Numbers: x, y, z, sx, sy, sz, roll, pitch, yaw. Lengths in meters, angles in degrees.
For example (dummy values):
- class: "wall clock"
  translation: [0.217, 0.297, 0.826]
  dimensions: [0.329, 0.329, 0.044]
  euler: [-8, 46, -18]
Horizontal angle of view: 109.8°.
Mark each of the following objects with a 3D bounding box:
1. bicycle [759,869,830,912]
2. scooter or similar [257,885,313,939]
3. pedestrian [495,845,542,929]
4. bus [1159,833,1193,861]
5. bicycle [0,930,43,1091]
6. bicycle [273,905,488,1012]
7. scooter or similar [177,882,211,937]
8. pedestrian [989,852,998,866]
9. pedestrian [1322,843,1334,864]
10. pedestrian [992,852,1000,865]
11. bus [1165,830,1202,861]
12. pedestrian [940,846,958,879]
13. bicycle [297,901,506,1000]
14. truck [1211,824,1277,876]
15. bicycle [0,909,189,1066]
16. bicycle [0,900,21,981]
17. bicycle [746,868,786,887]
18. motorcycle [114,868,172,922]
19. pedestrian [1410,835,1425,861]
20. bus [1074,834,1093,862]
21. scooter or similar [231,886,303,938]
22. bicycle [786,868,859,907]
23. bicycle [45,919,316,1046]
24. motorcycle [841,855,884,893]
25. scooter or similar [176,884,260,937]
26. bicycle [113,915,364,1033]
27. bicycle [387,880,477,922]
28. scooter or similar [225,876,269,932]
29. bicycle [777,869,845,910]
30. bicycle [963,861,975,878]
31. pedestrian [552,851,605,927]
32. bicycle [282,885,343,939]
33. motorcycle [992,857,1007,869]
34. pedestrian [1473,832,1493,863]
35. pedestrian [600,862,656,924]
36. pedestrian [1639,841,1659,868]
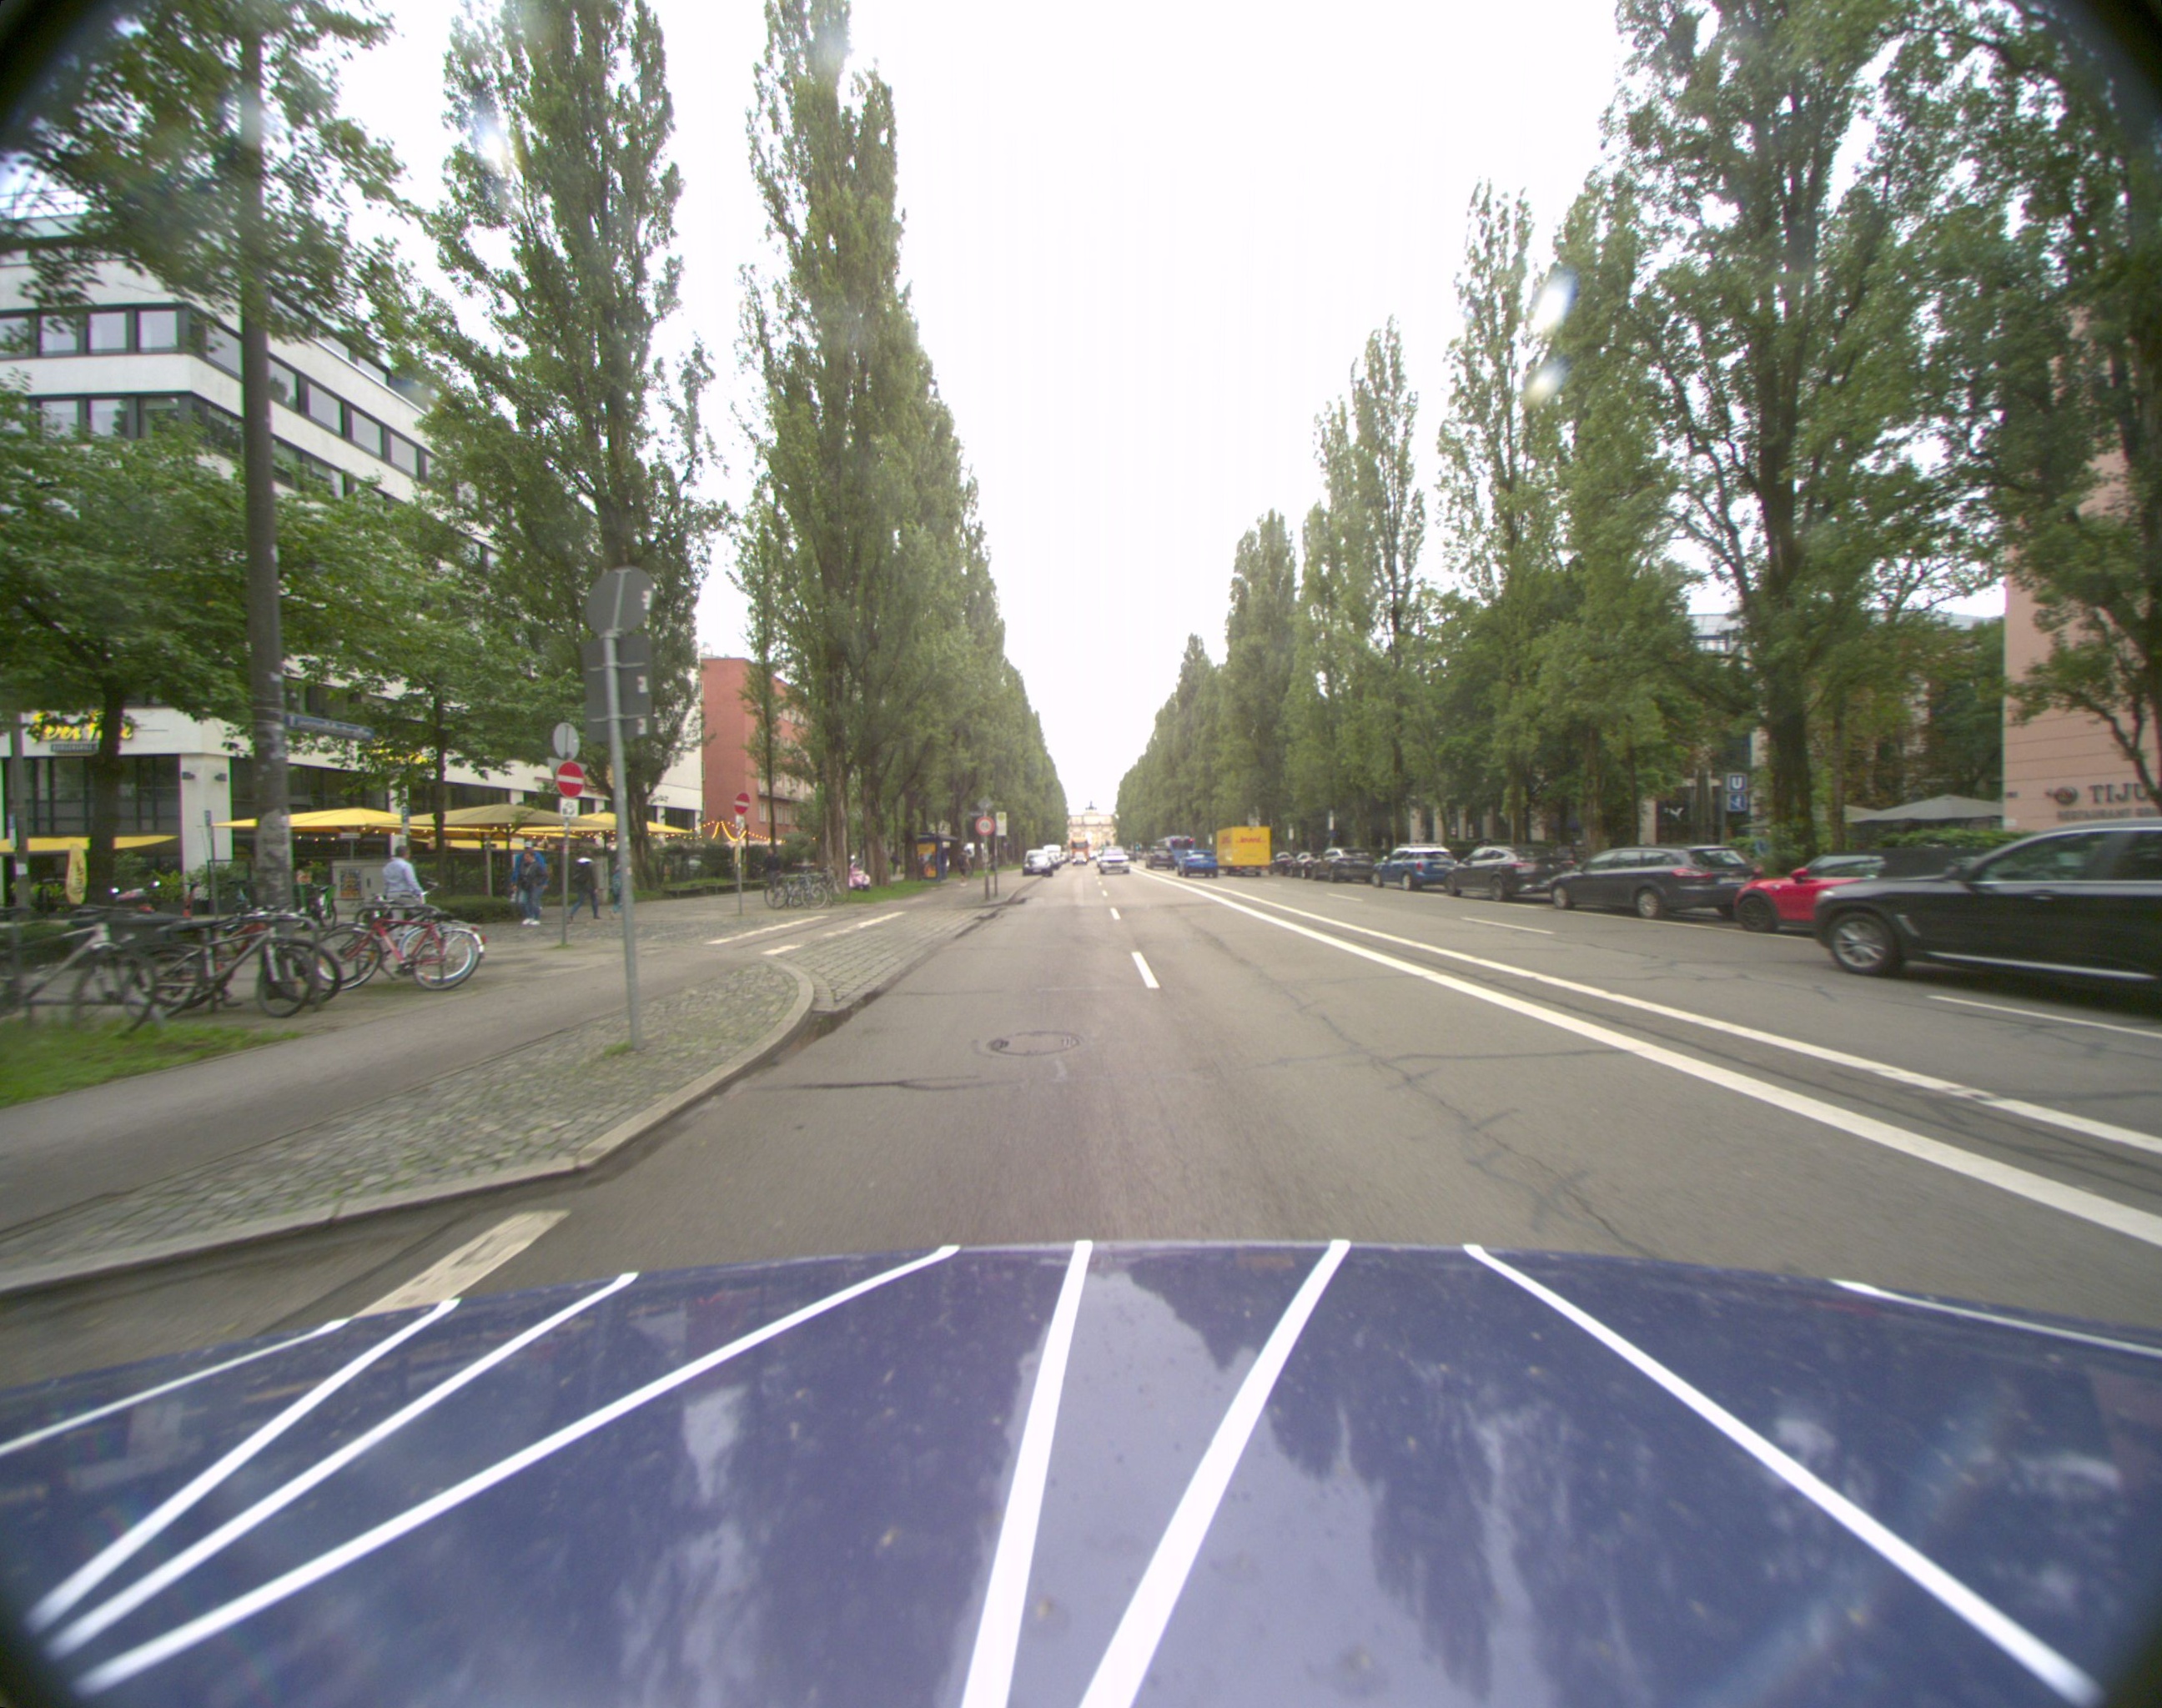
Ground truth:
- class: "bicycle"
  translation: [-7.707, 0.976, 20.469]
  dimensions: [1.701, 1.087, 0.492]
  euler: [-1, 1, 5]
- class: "scooter or similar"
  translation: [-18.640, 1.340, 17.817]
  dimensions: [0.370, 1.137, 1.427]
  euler: [-2, 1, -24]
- class: "pedestrian"
  translation: [-13.079, 0.760, 17.681]
  dimensions: [0.704, 1.897, 0.644]
  euler: [-2, 1, -24]
- class: "bus"
  translation: [10.956, -0.781, 88.445]
  dimensions: [2.924, 3.034, 9.797]
  euler: [-1, 0, 2]
- class: "bicycle"
  translation: [-8.009, 1.043, 4.985]
  dimensions: [1.831, 1.032, 0.513]
  euler: [0, 1, 5]
- class: "bicycle"
  translation: [-7.583, 1.124, 8.259]
  dimensions: [1.875, 1.044, 0.476]
  euler: [-2, 1, 1]
- class: "scooter or similar"
  translation: [-21.272, 1.325, 18.218]
  dimensions: [1.354, 1.265, 0.328]
  euler: [-2, 0, 33]
- class: "pedestrian"
  translation: [-10.615, 0.627, 92.231]
  dimensions: [0.889, 1.683, 0.768]
  euler: [-1, 1, 4]
- class: "pedestrian"
  translation: [19.992, -0.058, 61.564]
  dimensions: [0.708, 1.704, 0.732]
  euler: [-1, 1, 1]
- class: "pedestrian"
  translation: [-11.293, 0.549, 100.573]
  dimensions: [0.889, 1.683, 0.768]
  euler: [-1, 1, 4]
- class: "bus"
  translation: [10.687, -0.813, 79.833]
  dimensions: [2.924, 3.034, 8.519]
  euler: [-1, 0, 2]
- class: "pedestrian"
  translation: [-7.405, 0.465, 42.636]
  dimensions: [0.890, 1.832, 0.767]
  euler: [-1, 1, -8]
- class: "bicycle"
  translation: [-7.843, 1.102, 8.820]
  dimensions: [1.876, 1.044, 0.475]
  euler: [-1, 1, -6]
- class: "truck"
  translation: [9.827, -0.276, 46.465]
  dimensions: [2.599, 2.891, 7.080]
  euler: [-1, 1, 1]
- class: "bicycle"
  translation: [-8.075, 0.996, 5.777]
  dimensions: [1.929, 1.099, 0.513]
  euler: [0, 1, -1]
- class: "bicycle"
  translation: [-16.120, 1.242, 10.743]
  dimensions: [1.874, 1.130, 0.476]
  euler: [-1, 1, 8]
- class: "bicycle"
  translation: [-16.324, 1.219, 39.420]
  dimensions: [1.801, 0.907, 0.620]
  euler: [-1, 1, -3]
- class: "motorcycle"
  translation: [-21.992, 0.938, 17.840]
  dimensions: [1.986, 1.188, 0.773]
  euler: [-2, -1, 42]
- class: "pedestrian"
  translation: [22.186, -0.381, 50.104]
  dimensions: [0.708, 1.704, 0.732]
  euler: [-1, 1, 1]
- class: "bus"
  translation: [0.358, -0.911, 118.146]
  dimensions: [2.647, 4.088, 9.796]
  euler: [-1, 0, 0]
- class: "scooter or similar"
  translation: [-19.381, 1.361, 18.119]
  dimensions: [0.327, 1.137, 1.251]
  euler: [-1, 1, 0]
- class: "bicycle"
  translation: [-7.568, 0.968, 22.253]
  dimensions: [1.981, 1.087, 0.492]
  euler: [-1, 1, 5]
- class: "bicycle"
  translation: [-7.990, 1.123, 6.774]
  dimensions: [1.875, 1.044, 0.476]
  euler: [0, 1, 1]
- class: "motorcycle"
  translation: [-8.015, 0.706, 27.837]
  dimensions: [0.631, 1.189, 1.984]
  euler: [-2, 6, -44]
- class: "scooter or similar"
  translation: [-20.788, 1.353, 18.327]
  dimensions: [1.253, 1.173, 0.389]
  euler: [-2, 1, -32]
- class: "bicycle"
  translation: [-7.986, 1.123, 7.237]
  dimensions: [1.875, 1.044, 0.476]
  euler: [0, 1, 1]
- class: "bicycle"
  translation: [-16.755, 1.211, 19.635]
  dimensions: [1.762, 1.016, 0.554]
  euler: [-1, 1, -2]
- class: "scooter or similar"
  translation: [-20.283, 1.197, 18.495]
  dimensions: [0.328, 1.265, 1.248]
  euler: [-2, 1, -31]
- class: "bicycle"
  translation: [-7.541, 0.986, 21.254]
  dimensions: [1.701, 1.087, 0.492]
  euler: [-1, 1, 5]
- class: "bicycle"
  translation: [-6.794, 0.938, 46.166]
  dimensions: [0.553, 1.016, 1.762]
  euler: [-1, 1, -3]
- class: "pedestrian"
  translation: [-11.551, 0.789, 17.479]
  dimensions: [0.663, 1.691, 0.691]
  euler: [-1, 1, 15]
- class: "bicycle"
  translation: [-17.881, 1.323, 17.714]
  dimensions: [0.555, 1.136, 1.758]
  euler: [-2, 1, -31]
- class: "motorcycle"
  translation: [-6.520, 0.741, 60.626]
  dimensions: [0.468, 0.933, 1.658]
  euler: [-2, 1, -32]
- class: "pedestrian"
  translation: [21.967, -0.350, 41.527]
  dimensions: [0.708, 1.704, 0.732]
  euler: [-1, 1, 1]
- class: "pedestrian"
  translation: [-10.798, 0.920, 18.122]
  dimensions: [0.817, 1.411, 0.771]
  euler: [-1, 1, 15]
- class: "pedestrian"
  translation: [36.568, 0.013, 48.888]
  dimensions: [0.731, 1.704, 0.709]
  euler: [-1, 1, -2]
